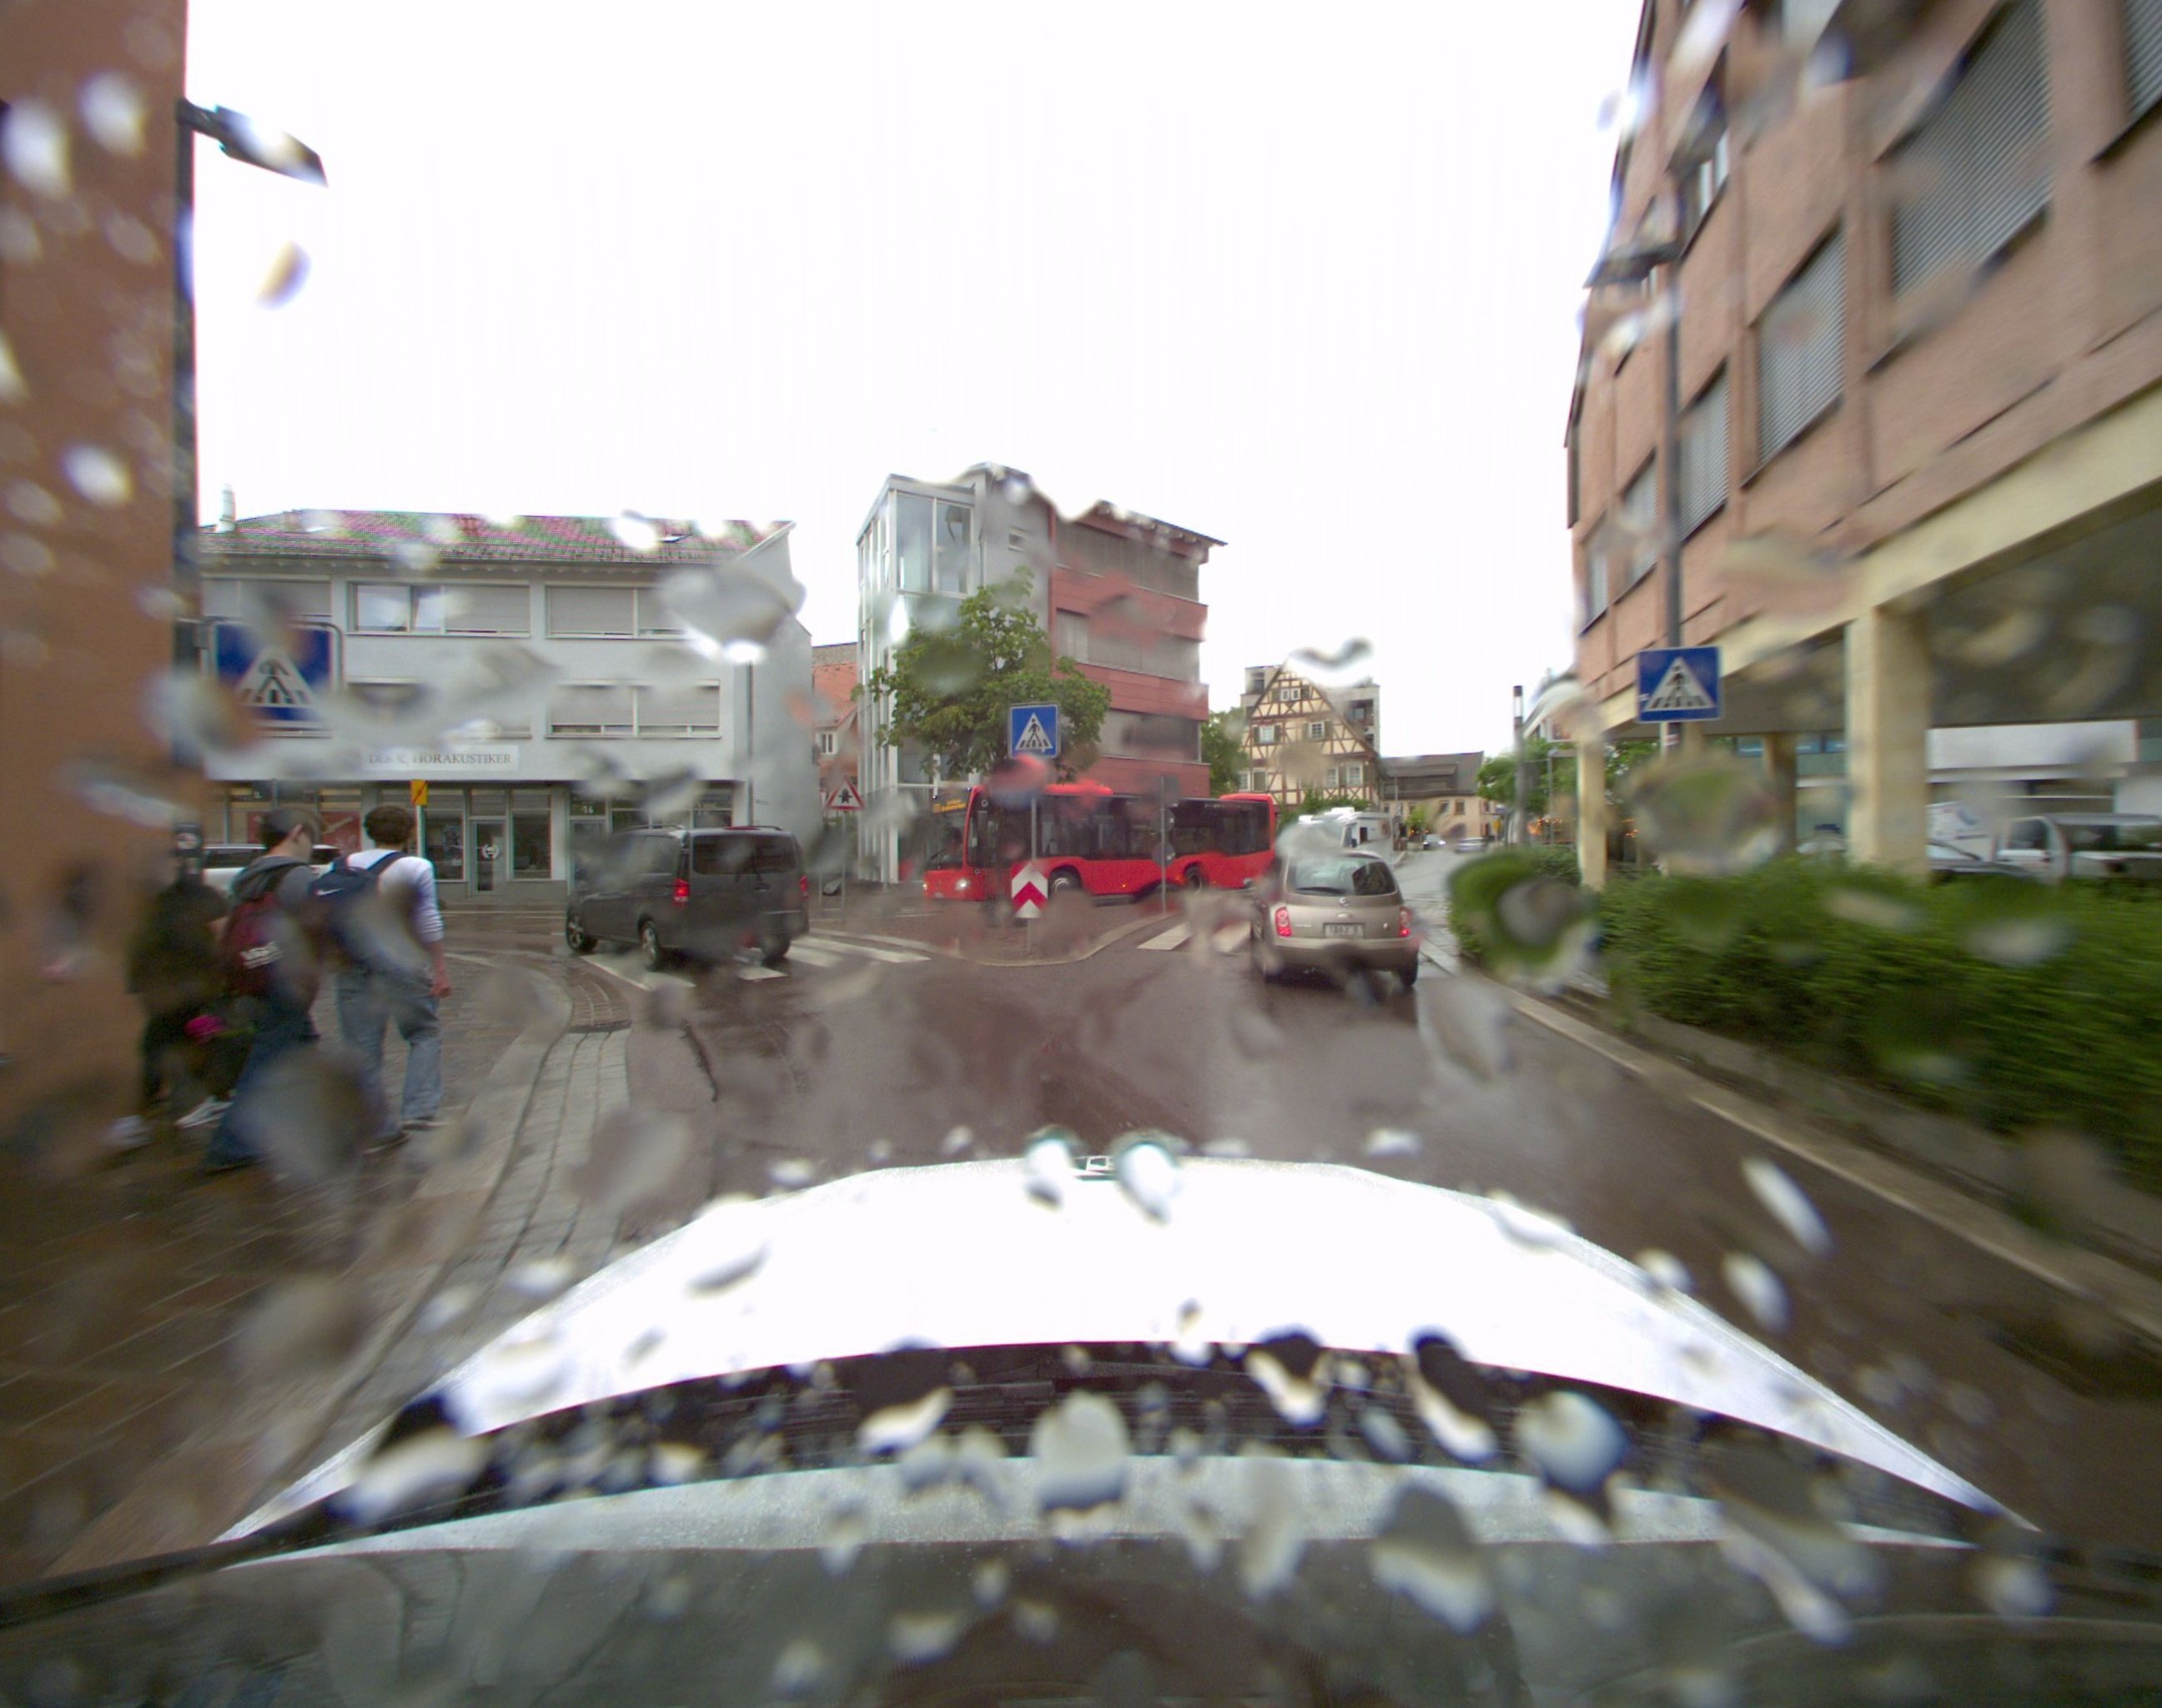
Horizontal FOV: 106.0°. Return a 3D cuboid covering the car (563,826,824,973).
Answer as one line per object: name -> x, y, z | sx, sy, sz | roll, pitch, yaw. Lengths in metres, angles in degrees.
car -> -5.924, 0.506, 12.157 | 4.667, 1.780, 1.965 | 1, 1, 44

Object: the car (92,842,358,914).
car -> -20.363, 0.524, 19.558 | 4.211, 1.612, 1.688 | 0, 1, -9

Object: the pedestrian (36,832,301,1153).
pedestrian -> -4.931, 0.693, 4.445 | 0.656, 1.610, 0.685 | -1, 0, 6

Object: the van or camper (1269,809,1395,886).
van or camper -> 9.694, -0.316, 30.913 | 2.414, 2.585, 6.795 | 0, 2, 37

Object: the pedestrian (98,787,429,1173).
pedestrian -> -4.272, 0.589, 4.367 | 0.690, 1.800, 1.057 | -1, 0, -2

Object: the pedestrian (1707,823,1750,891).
pedestrian -> 16.547, 0.072, 20.828 | 0.628, 1.689, 0.746 | -1, 0, 20

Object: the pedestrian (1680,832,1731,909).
pedestrian -> 14.156, 0.361, 18.456 | 0.736, 1.689, 0.717 | -1, 0, -35

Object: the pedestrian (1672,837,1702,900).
pedestrian -> 14.879, 0.345, 20.001 | 0.493, 1.509, 0.492 | -1, 0, -44

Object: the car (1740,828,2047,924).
car -> 12.752, 0.289, 13.238 | 1.748, 1.276, 4.493 | -1, 0, 19

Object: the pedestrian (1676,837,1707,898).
pedestrian -> 16.746, 0.368, 22.335 | 0.535, 1.663, 0.523 | -1, 0, 21

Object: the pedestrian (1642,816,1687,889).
pedestrian -> 13.654, -0.044, 19.050 | 0.825, 1.661, 0.690 | -1, 0, -43

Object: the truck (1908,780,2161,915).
truck -> 15.349, -0.105, 12.744 | 1.748, 1.808, 4.019 | -1, 0, 19

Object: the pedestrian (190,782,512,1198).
pedestrian -> -3.576, 0.592, 4.110 | 0.662, 1.806, 1.060 | -1, 0, -3

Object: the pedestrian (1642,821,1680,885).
pedestrian -> 16.211, -0.014, 22.783 | 0.726, 1.748, 0.898 | -1, 0, 27

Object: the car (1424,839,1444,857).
car -> 33.822, -0.585, 78.018 | 1.573, 1.712, 3.338 | -1, 0, 21

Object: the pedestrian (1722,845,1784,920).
pedestrian -> 15.180, 0.615, 18.405 | 0.738, 1.639, 0.956 | -1, 0, -40

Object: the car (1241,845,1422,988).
car -> 2.932, 0.641, 10.165 | 1.514, 1.470, 3.347 | -1, 1, 6

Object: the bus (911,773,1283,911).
bus -> 0.876, -0.275, 22.485 | 10.653, 3.089, 2.791 | -1, -2, -36

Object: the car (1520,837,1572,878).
car -> 16.488, 0.125, 28.829 | 1.522, 1.362, 3.394 | -1, 0, 31

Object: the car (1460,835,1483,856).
car -> 32.281, -0.679, 67.282 | 1.659, 1.712, 3.340 | -1, 0, 26
